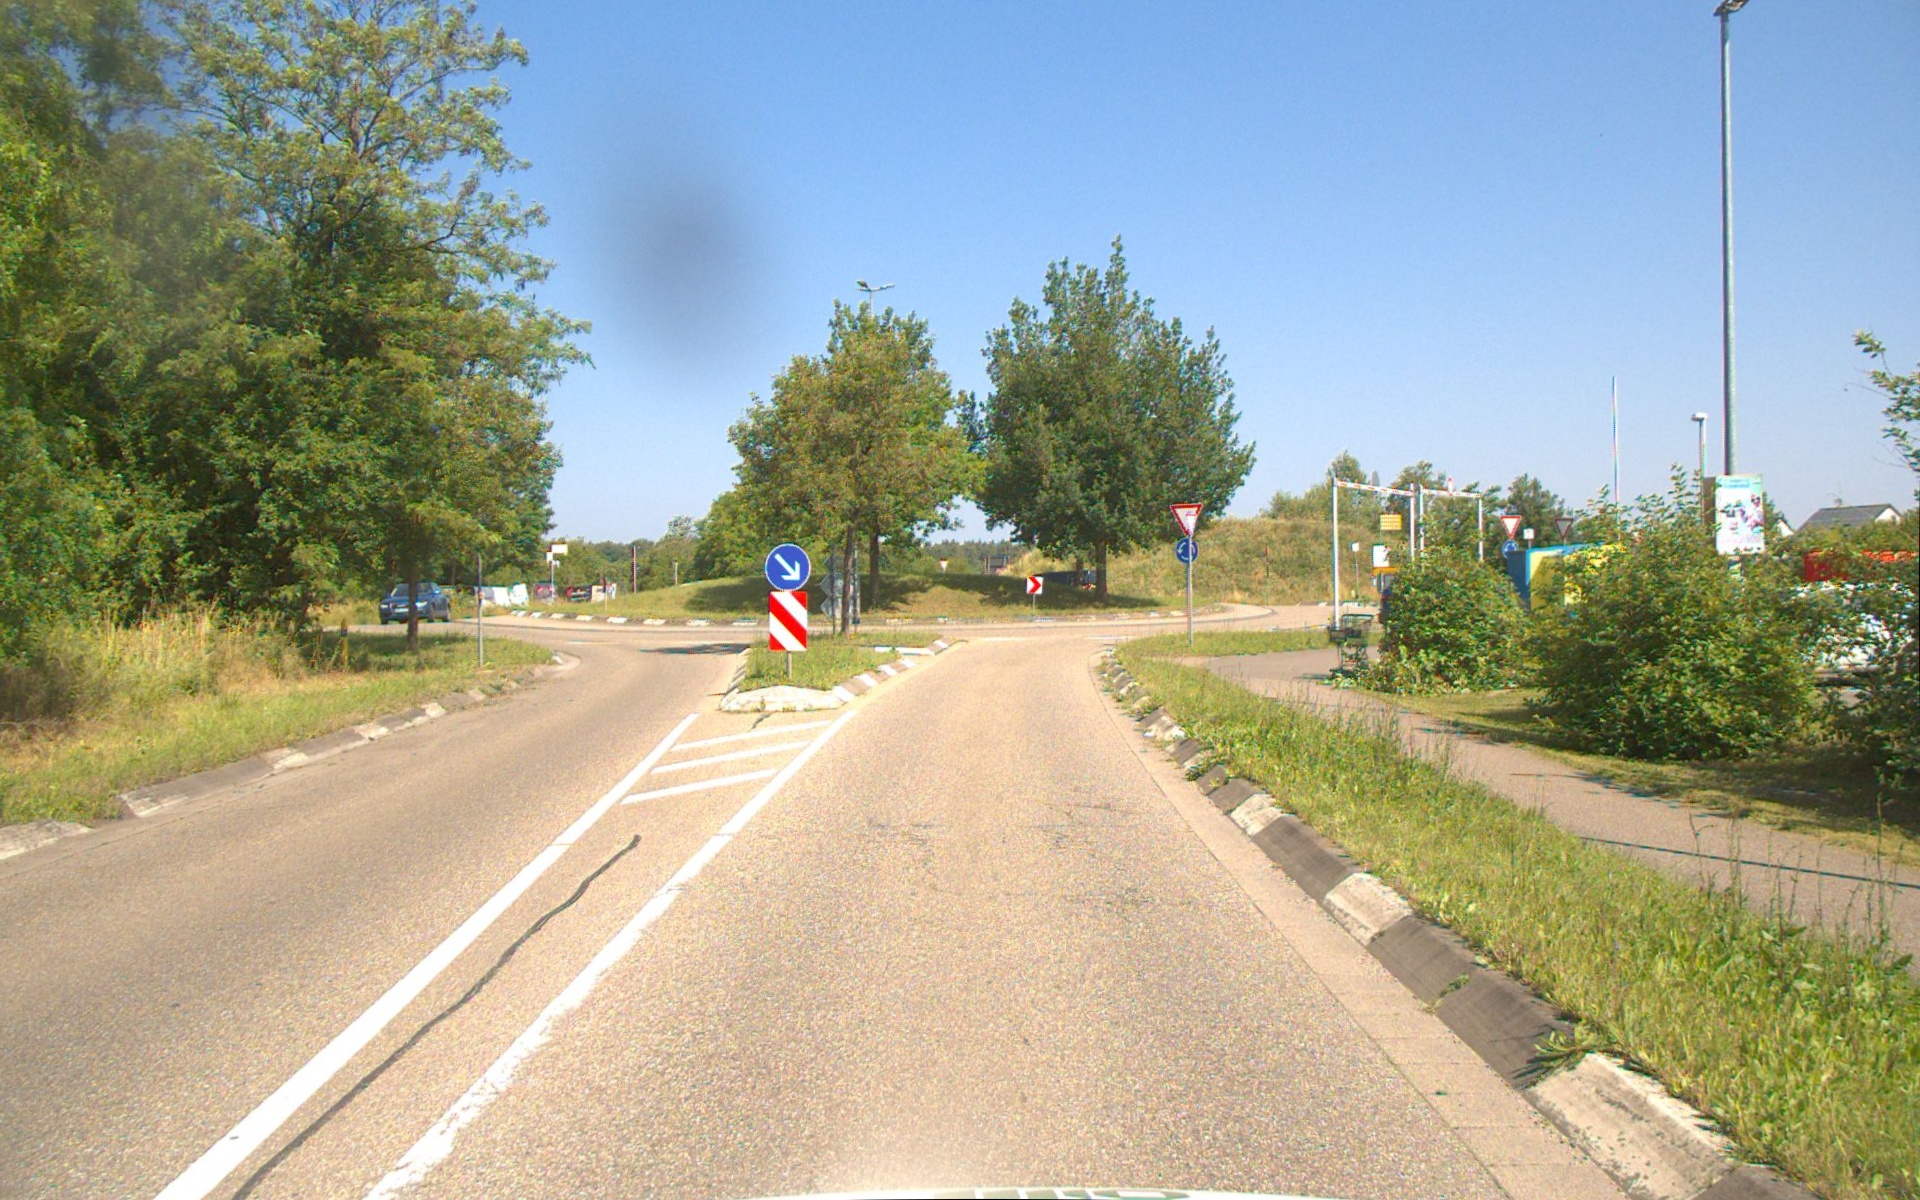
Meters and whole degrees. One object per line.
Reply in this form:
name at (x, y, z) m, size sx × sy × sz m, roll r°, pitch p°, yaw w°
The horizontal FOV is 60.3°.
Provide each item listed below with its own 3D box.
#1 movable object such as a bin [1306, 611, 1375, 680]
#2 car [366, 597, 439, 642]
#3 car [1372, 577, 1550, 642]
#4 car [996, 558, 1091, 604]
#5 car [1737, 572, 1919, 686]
movable object such as a bin at (6.705, 0.785, 29.105) m, size 0.851 × 1.140 × 1.454 m, roll 0°, pitch 1°, yaw 27°
car at (-19.539, 0.644, 57.869) m, size 1.811 × 1.411 × 4.386 m, roll -2°, pitch 1°, yaw -26°
car at (13.022, 0.232, 42.971) m, size 4.322 × 1.599 × 1.716 m, roll 0°, pitch 1°, yaw 21°
car at (3.850, -0.880, 76.493) m, size 3.917 × 2.049 × 1.994 m, roll -1°, pitch 1°, yaw 34°
car at (14.120, 0.402, 25.379) m, size 3.522 × 1.589 × 1.813 m, roll -2°, pitch 1°, yaw -2°
